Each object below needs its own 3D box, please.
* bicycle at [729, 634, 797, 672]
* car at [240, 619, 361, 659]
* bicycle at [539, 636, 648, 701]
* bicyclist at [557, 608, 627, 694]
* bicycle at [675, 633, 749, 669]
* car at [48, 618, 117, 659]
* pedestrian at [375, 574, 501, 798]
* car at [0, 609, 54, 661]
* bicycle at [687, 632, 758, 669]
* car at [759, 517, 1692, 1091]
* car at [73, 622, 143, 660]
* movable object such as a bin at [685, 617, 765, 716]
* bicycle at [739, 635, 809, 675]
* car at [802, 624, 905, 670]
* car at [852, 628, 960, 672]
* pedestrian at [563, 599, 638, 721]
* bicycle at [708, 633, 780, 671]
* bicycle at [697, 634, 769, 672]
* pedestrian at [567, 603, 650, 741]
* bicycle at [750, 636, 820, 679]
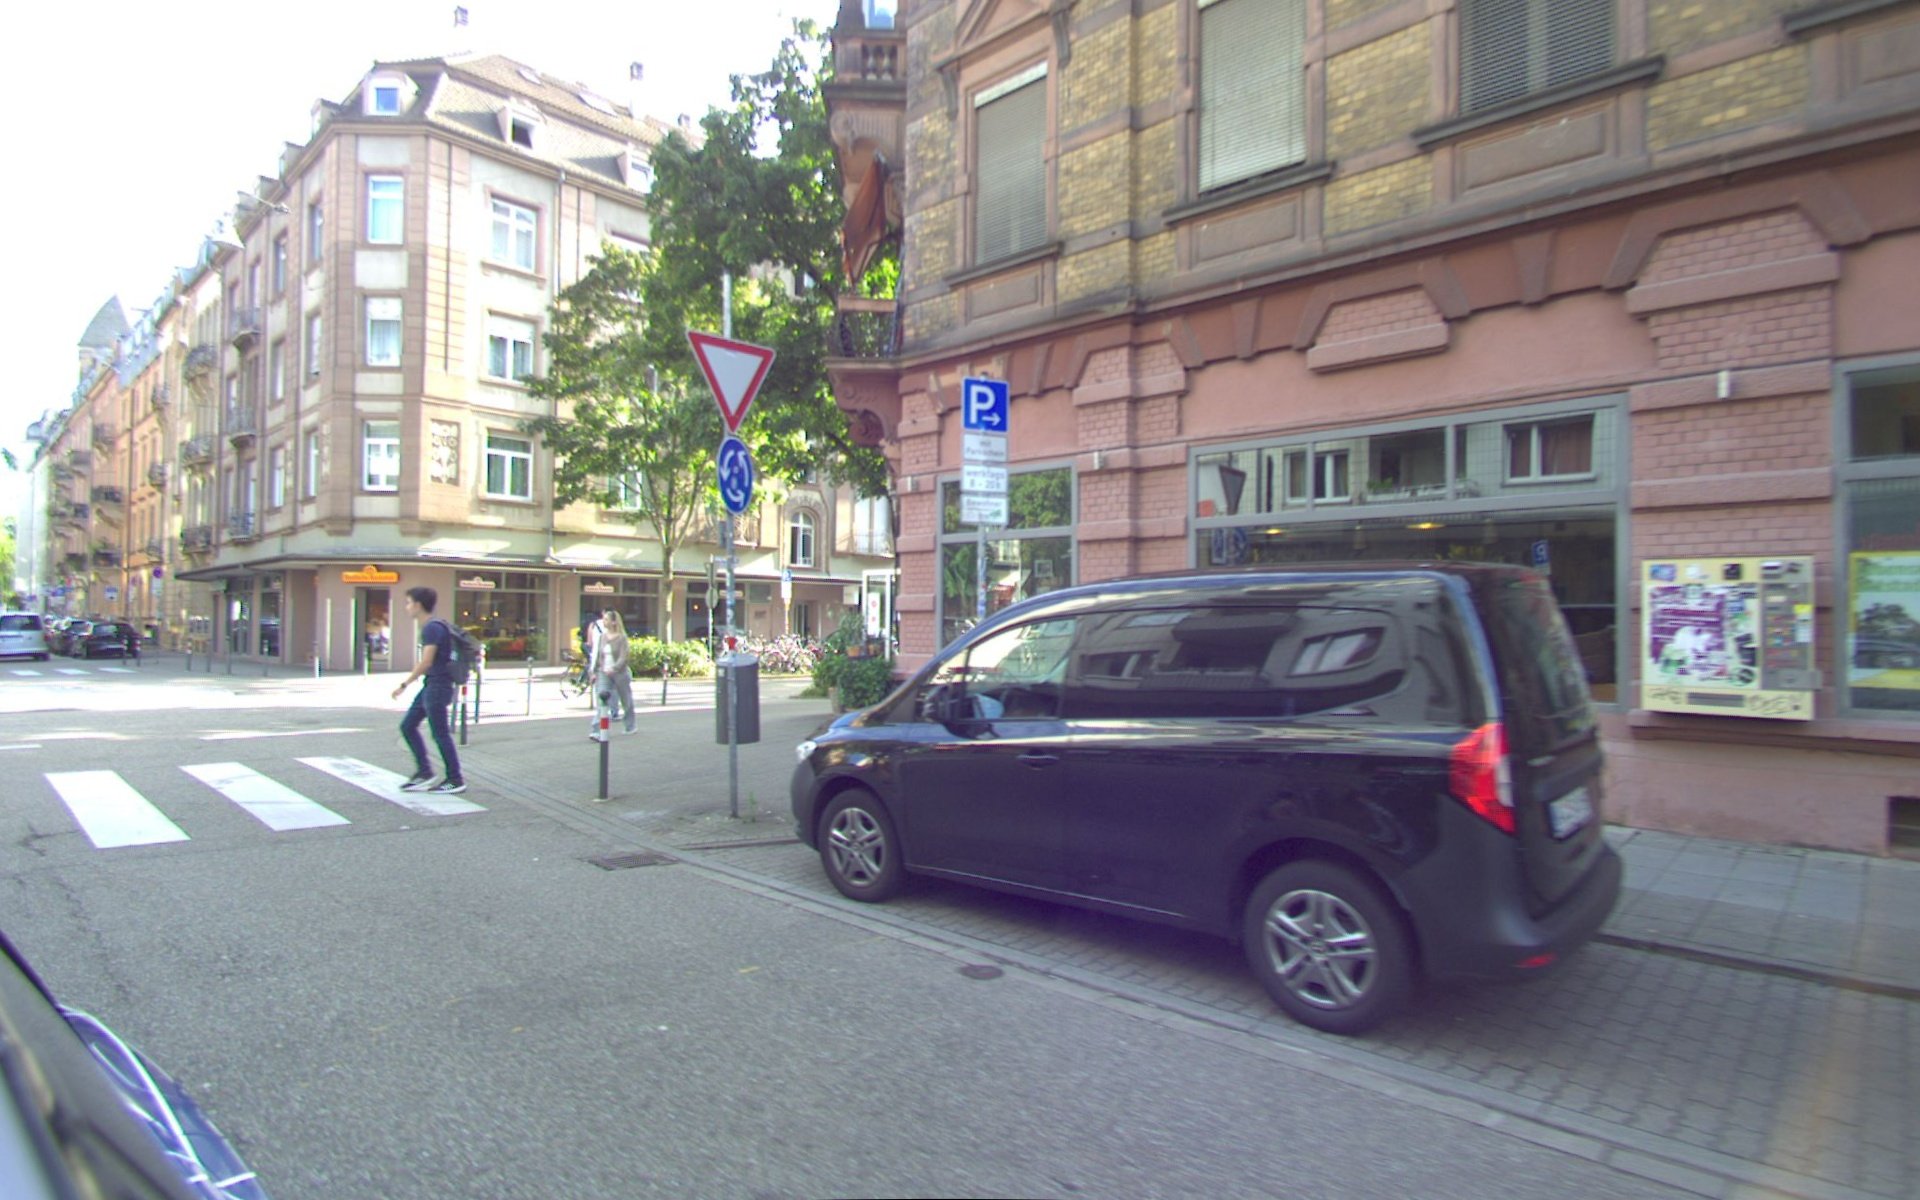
[{"bbox_3d":[-6.015,1.610,31.041,0.478,1.143,2.233,-1,-3,40],"label":"bicycle"},{"bbox_3d":[-28.557,1.663,43.899,1.995,1.633,3.953,-1,-1,34],"label":"car"},{"bbox_3d":[-7.394,1.353,20.532,0.700,1.229,2.094,0,-2,31],"label":"bicycle"},{"bbox_3d":[-7.434,1.017,20.467,0.700,1.690,1.100,0,-2,32],"label":"bicyclist"},{"bbox_3d":[-7.979,1.636,32.660,0.579,1.143,2.398,-1,-3,40],"label":"bicycle"},{"bbox_3d":[-37.241,1.590,42.905,4.400,1.596,1.836,-1,-1,44],"label":"car"},{"bbox_3d":[-4.587,0.733,8.884,0.843,1.854,0.680,4,-2,-32],"label":"pedestrian"},{"bbox_3d":[-35.207,1.338,37.658,4.330,1.804,1.809,-3,-1,43],"label":"car"},{"bbox_3d":[-7.545,1.602,32.284,0.478,1.143,2.398,-1,-3,40],"label":"bicycle"},{"bbox_3d":[1.002,0.676,5.295,4.405,1.787,1.741,-2,-1,42],"label":"car"},{"bbox_3d":[-33.250,1.576,39.457,3.830,1.379,1.700,-2,-1,44],"label":"car"},{"bbox_3d":[-1.783,0.494,7.668,0.475,0.719,0.379,-2,-1,39],"label":"movable object such as a bin"},{"bbox_3d":[-5.616,1.657,30.686,0.478,1.166,2.260,-1,-3,40],"label":"bicycle"},{"bbox_3d":[-3.706,1.581,34.827,3.700,1.488,1.554,-2,-1,45],"label":"car"},{"bbox_3d":[-1.991,1.752,36.376,4.076,1.488,1.554,-2,-1,45],"label":"car"},{"bbox_3d":[-5.190,0.844,14.596,0.791,1.683,1.025,2,-2,-31],"label":"pedestrian"},{"bbox_3d":[-6.728,1.613,31.610,0.478,1.143,2.398,-1,-3,40],"label":"bicycle"},{"bbox_3d":[-7.138,1.654,31.929,0.478,1.143,2.398,-1,-3,40],"label":"bicycle"},{"bbox_3d":[-4.250,0.852,12.268,0.607,1.590,0.808,-3,-1,6],"label":"pedestrian"},{"bbox_3d":[-5.231,1.708,30.357,0.478,1.234,2.262,-1,-3,40],"label":"bicycle"}]
